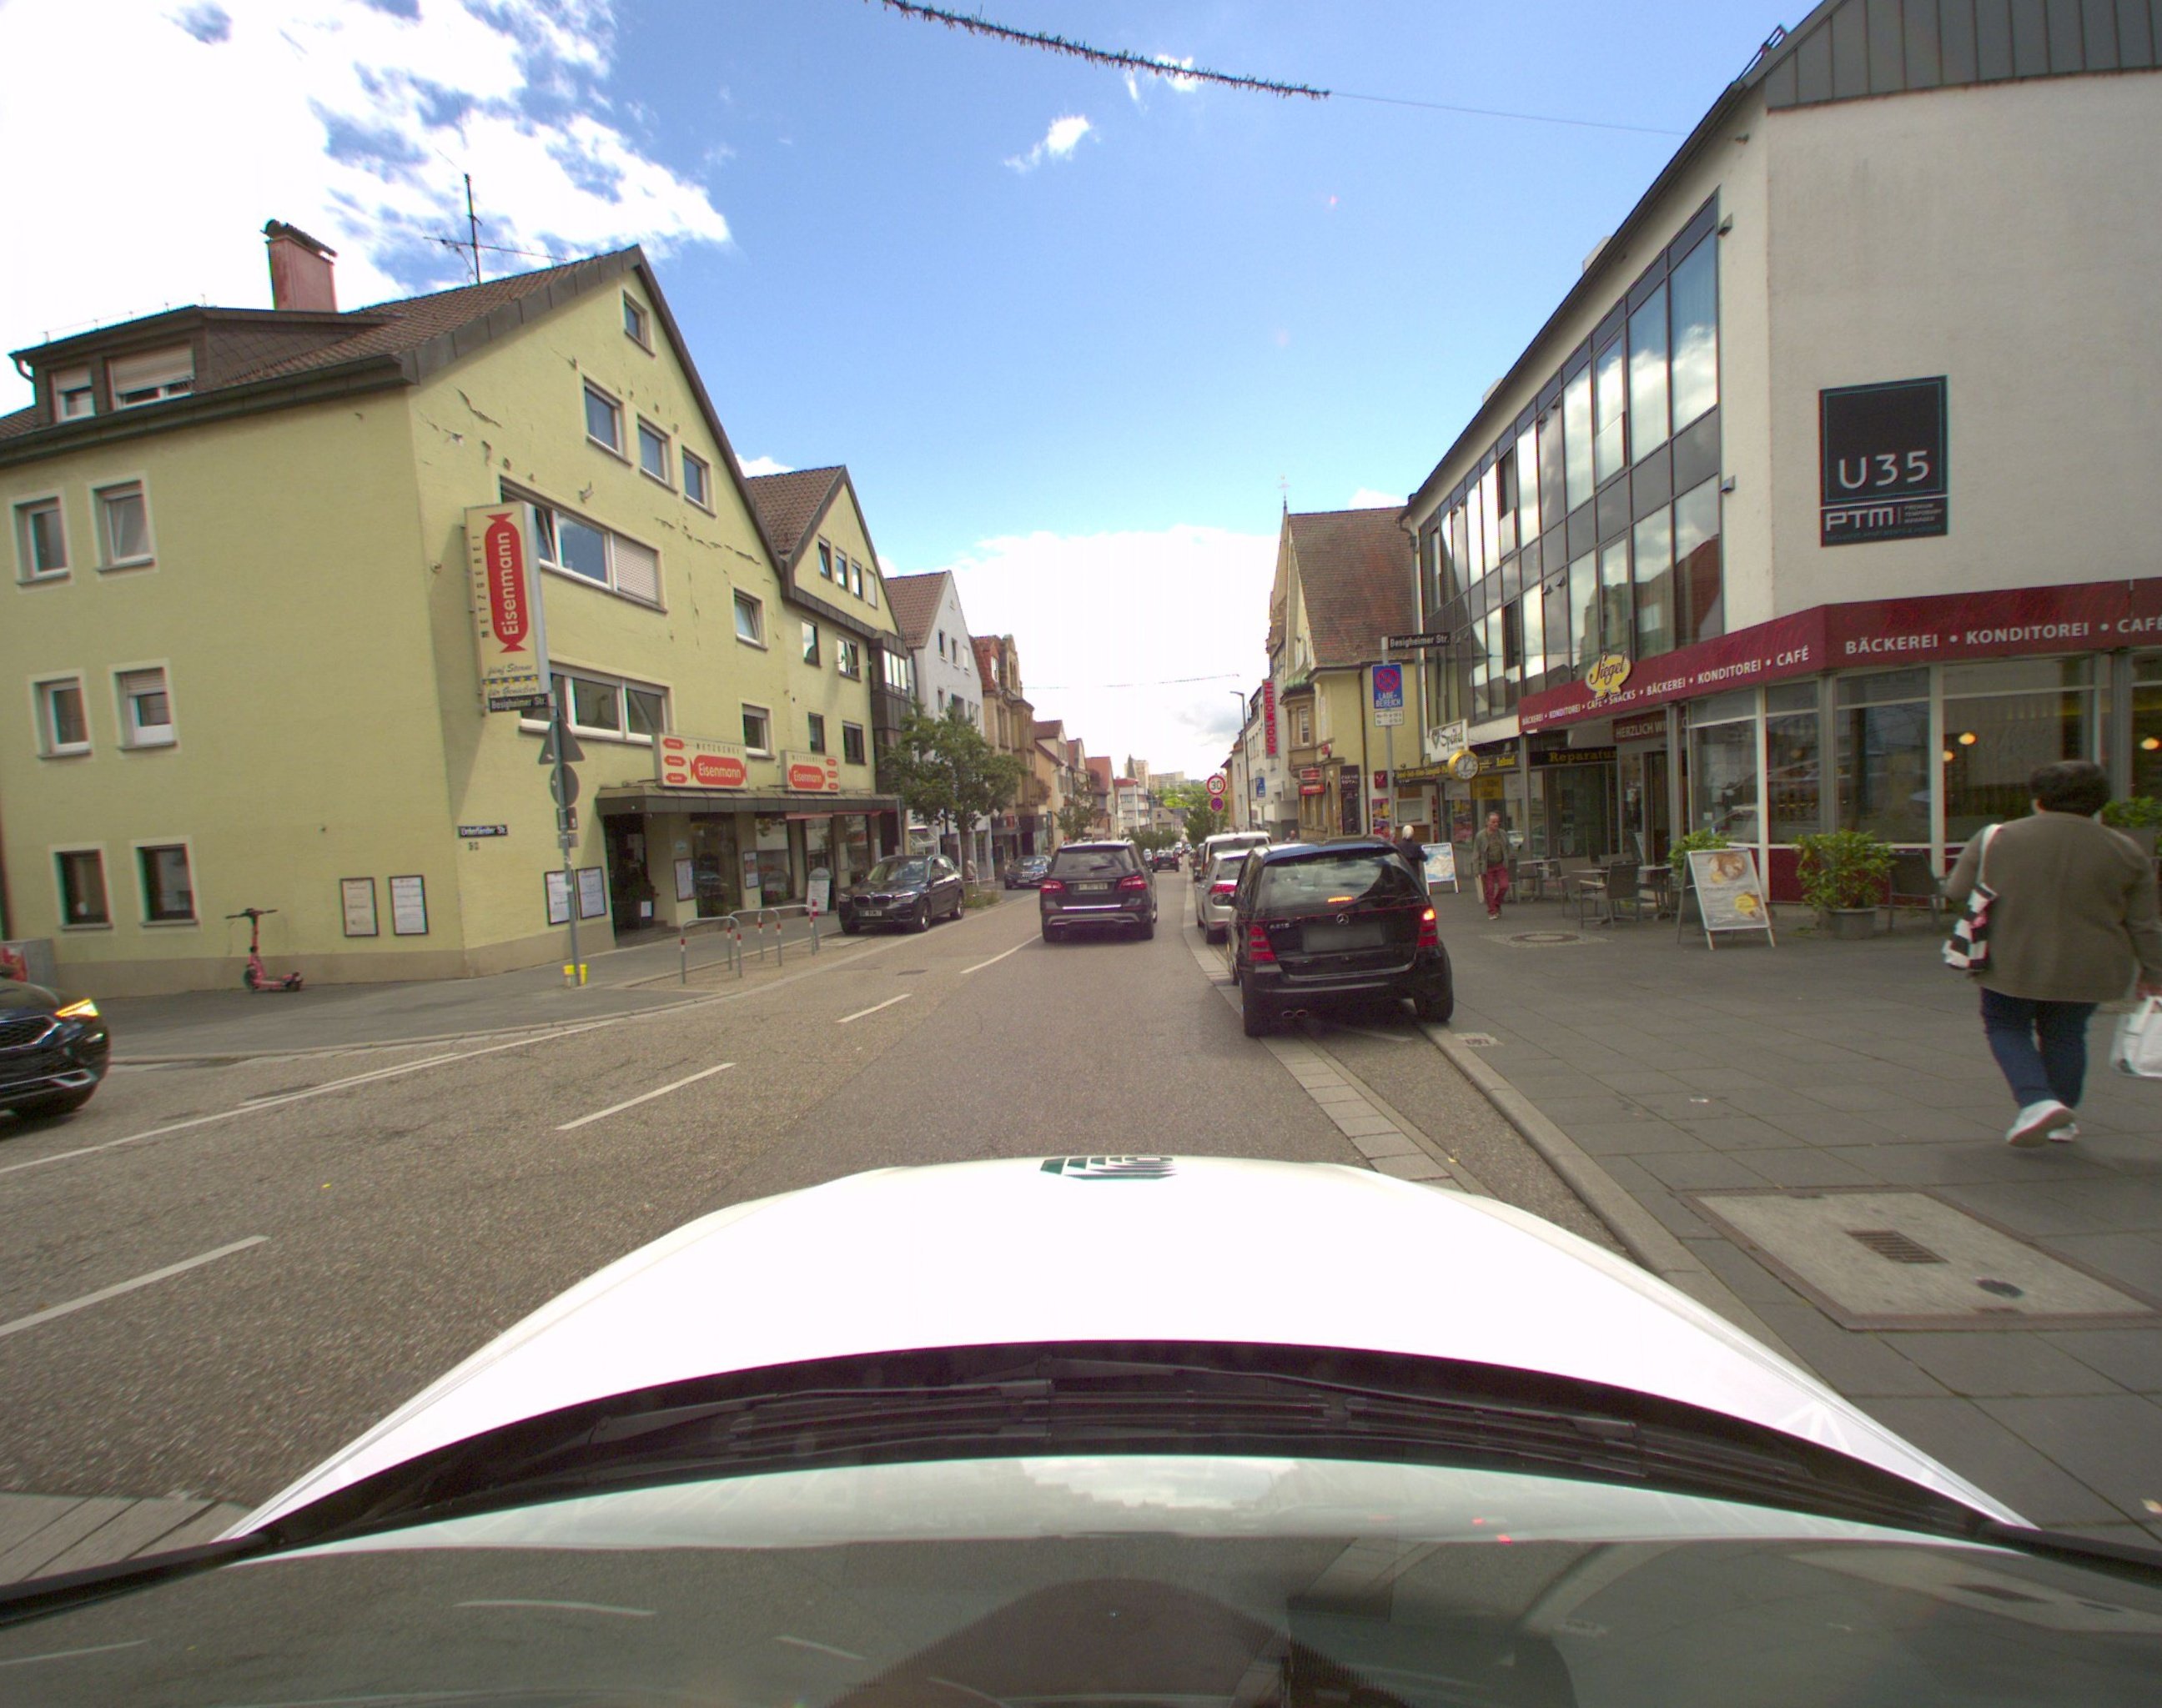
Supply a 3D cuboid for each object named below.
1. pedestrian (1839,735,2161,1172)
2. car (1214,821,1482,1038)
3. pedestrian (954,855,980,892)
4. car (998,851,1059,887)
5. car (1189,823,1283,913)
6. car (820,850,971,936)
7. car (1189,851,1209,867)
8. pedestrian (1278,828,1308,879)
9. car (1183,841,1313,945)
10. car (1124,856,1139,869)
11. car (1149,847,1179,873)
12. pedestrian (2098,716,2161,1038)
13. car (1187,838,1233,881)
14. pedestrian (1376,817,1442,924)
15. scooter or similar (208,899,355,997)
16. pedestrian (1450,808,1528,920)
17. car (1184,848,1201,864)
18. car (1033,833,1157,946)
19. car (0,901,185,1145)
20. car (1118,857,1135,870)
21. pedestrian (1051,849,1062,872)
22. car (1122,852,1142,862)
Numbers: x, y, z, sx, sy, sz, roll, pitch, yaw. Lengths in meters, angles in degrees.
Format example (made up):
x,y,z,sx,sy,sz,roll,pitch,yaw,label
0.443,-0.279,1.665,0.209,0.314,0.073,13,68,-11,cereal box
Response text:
x,y,z,sx,sy,sz,roll,pitch,yaw,label
4.070,0.376,3.515,0.767,1.645,0.873,-3,0,13,pedestrian
2.336,0.569,8.160,1.793,1.555,3.963,-4,0,8,car
-4.513,0.760,32.191,0.821,1.463,0.811,-1,0,6,pedestrian
-2.263,0.632,36.700,1.917,1.492,4.851,-1,0,6,car
3.697,0.276,19.501,1.865,1.799,4.746,-3,0,11,car
-4.217,0.805,19.410,1.996,1.693,4.617,-2,1,7,car
12.367,0.535,85.378,1.739,1.465,4.082,-7,0,6,car
7.443,-0.017,28.642,0.792,1.727,1.055,-4,0,7,pedestrian
2.773,0.581,14.293,1.695,1.467,4.006,-4,0,5,car
6.547,1.086,104.891,1.918,1.595,4.463,-1,0,4,car
5.490,0.367,53.436,1.776,1.540,3.752,-3,0,7,car
6.264,0.113,4.259,0.770,1.769,0.820,-3,0,9,pedestrian
5.514,0.226,34.998,1.738,1.607,3.809,-5,0,8,car
5.379,0.264,13.398,0.818,1.666,0.805,-3,0,13,pedestrian
-11.992,1.404,12.229,1.582,1.280,0.591,-4,4,7,scooter or similar
6.599,0.159,13.238,0.858,1.707,0.948,-3,0,13,pedestrian
14.015,0.247,102.506,1.928,1.891,4.716,-5,0,7,car
0.379,0.578,15.297,1.935,1.740,4.183,-3,0,4,car
-9.394,1.309,5.854,4.329,1.569,1.921,-4,0,11,car
5.467,1.142,97.562,1.918,1.496,4.267,-1,0,4,car
-1.561,0.398,51.648,0.487,1.463,0.561,-1,0,16,pedestrian
10.868,0.690,172.740,3.970,1.750,2.002,-5,-1,3,car
